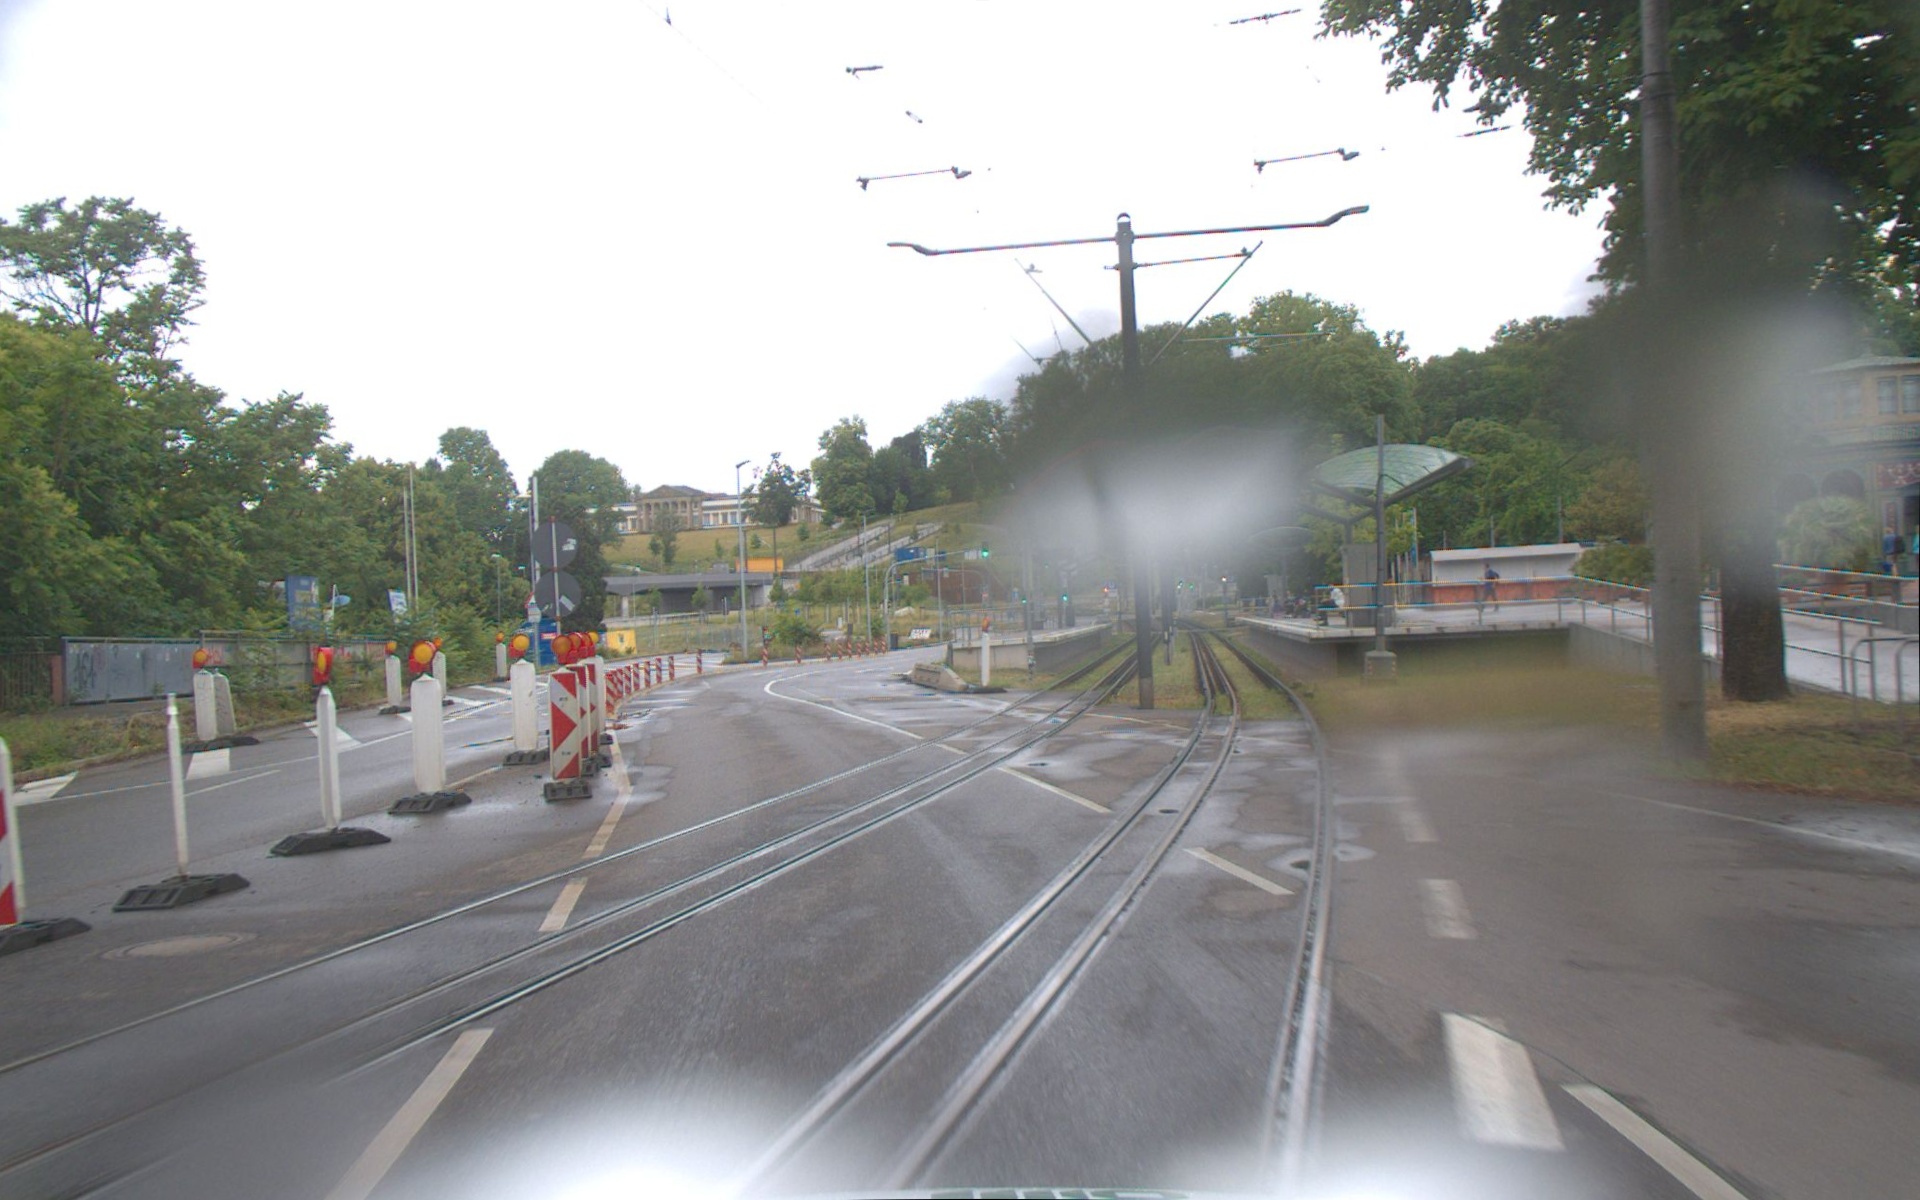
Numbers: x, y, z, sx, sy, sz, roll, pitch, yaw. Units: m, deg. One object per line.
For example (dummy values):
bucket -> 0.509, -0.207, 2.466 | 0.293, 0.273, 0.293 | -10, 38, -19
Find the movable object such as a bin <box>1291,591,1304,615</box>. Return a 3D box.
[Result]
movable object such as a bin -> 14.947, 0.141, 73.266 | 0.428, 1.026, 0.682 | -4, -1, 8

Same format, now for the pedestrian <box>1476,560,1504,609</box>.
pedestrian -> 20.362, -0.602, 63.584 | 0.705, 1.821, 1.183 | -5, 0, 8

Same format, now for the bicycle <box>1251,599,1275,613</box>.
bicycle -> 24.794, 0.475, 135.257 | 1.772, 1.049, 0.653 | -4, 0, 5

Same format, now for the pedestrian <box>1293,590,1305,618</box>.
pedestrian -> 15.221, 0.174, 74.293 | 0.428, 1.247, 0.551 | -4, -1, 8

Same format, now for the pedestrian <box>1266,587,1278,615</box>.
pedestrian -> 14.003, 0.047, 74.309 | 0.428, 1.247, 0.551 | -4, -1, 8

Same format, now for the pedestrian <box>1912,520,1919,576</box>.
pedestrian -> 29.044, -1.578, 49.738 | 0.541, 1.686, 0.466 | -4, -2, 42

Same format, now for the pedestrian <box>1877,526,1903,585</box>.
pedestrian -> 28.407, -1.348, 50.541 | 0.520, 1.741, 0.695 | -1, -2, 19

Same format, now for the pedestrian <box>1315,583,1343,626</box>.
pedestrian -> 10.005, 0.119, 44.841 | 0.588, 1.138, 0.519 | 1, -1, -8

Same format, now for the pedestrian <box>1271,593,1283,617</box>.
pedestrian -> 14.095, 0.236, 73.625 | 0.428, 1.026, 0.551 | -4, -1, 8
